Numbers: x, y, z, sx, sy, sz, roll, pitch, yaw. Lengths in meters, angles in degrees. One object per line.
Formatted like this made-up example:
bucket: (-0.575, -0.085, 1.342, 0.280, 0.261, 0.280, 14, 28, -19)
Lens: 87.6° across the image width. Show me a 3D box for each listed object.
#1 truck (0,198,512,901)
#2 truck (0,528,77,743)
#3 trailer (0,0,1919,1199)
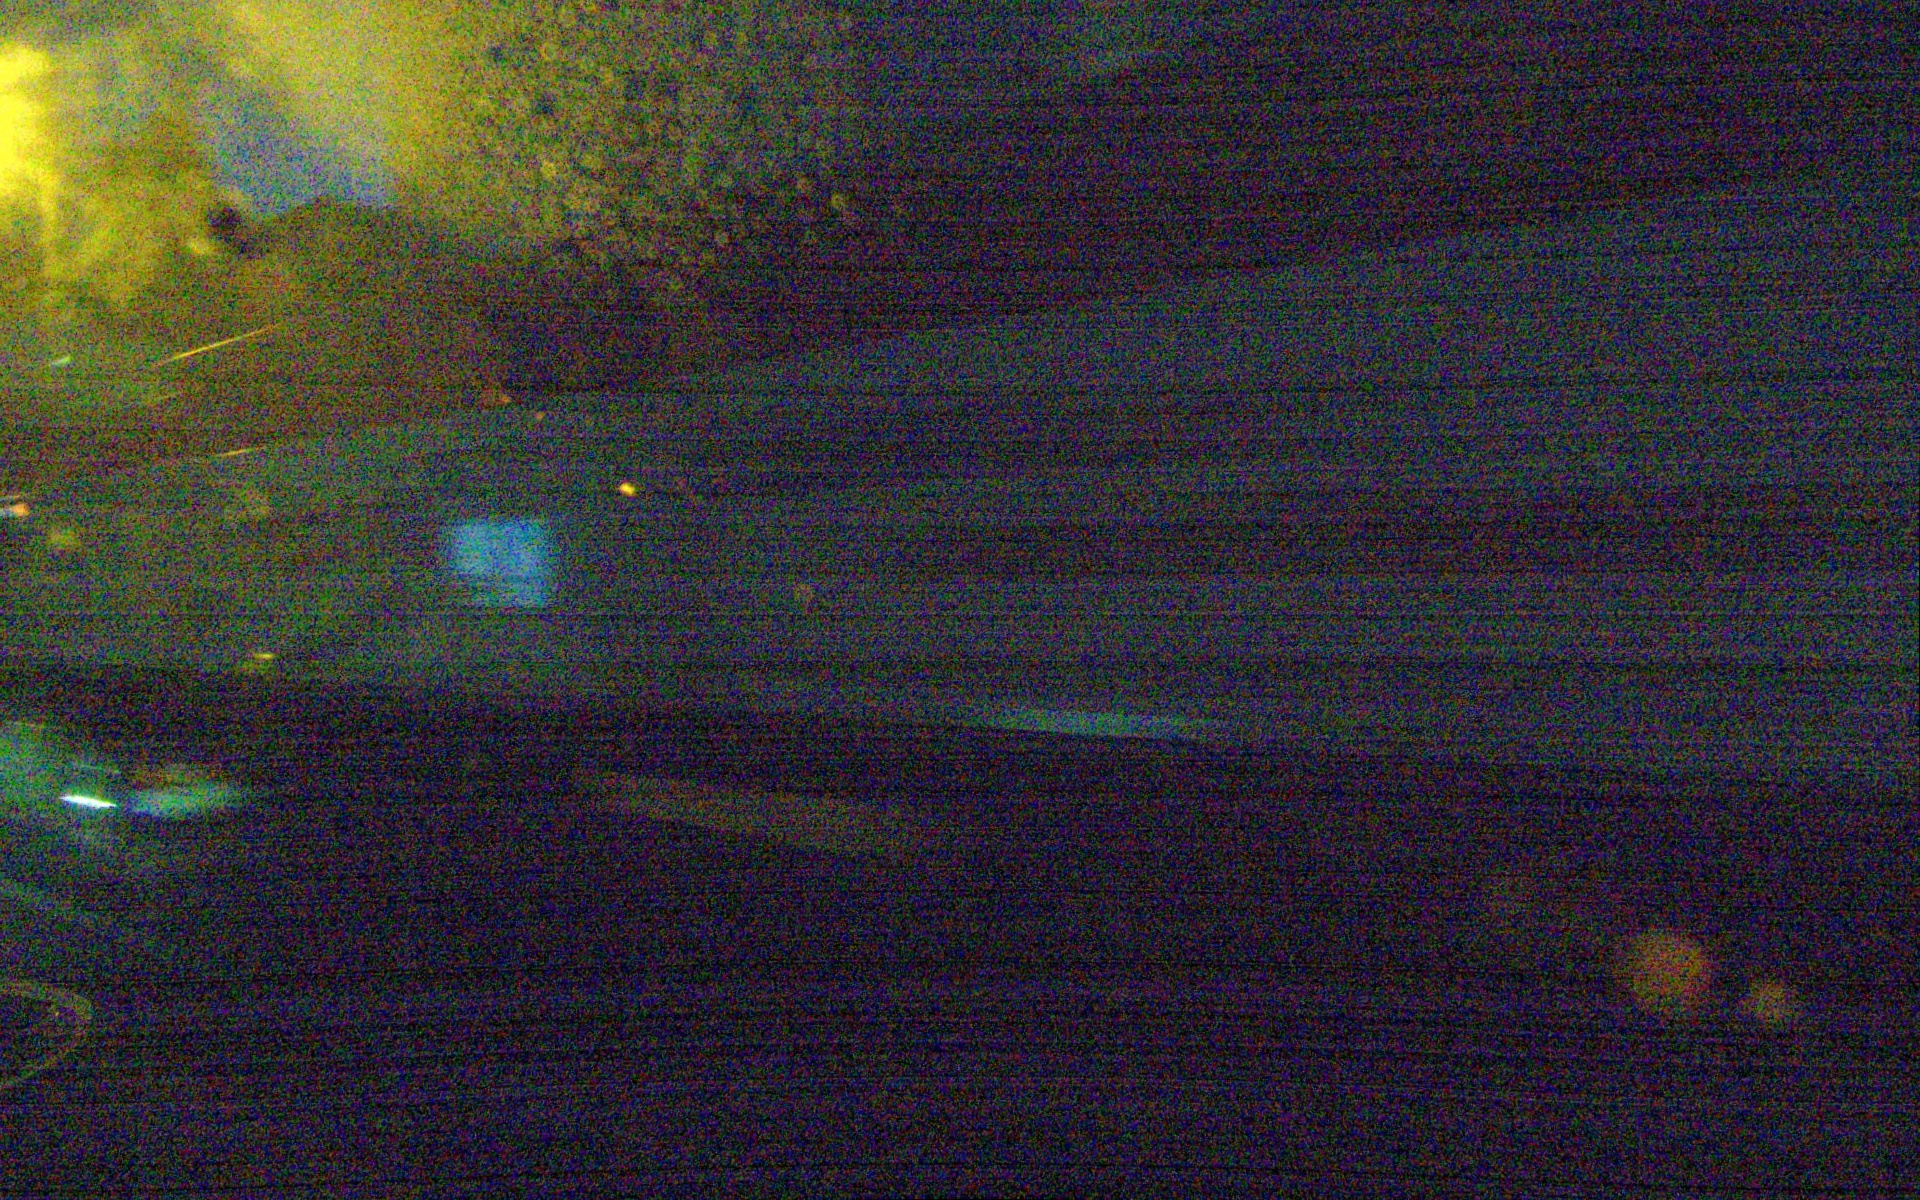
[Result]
truck: (-6.368, -0.174, 7.996, 5.155, 3.811, 2.760, -2, -2, 33)
truck: (-14.704, 0.497, 13.688, 6.507, 2.628, 2.395, -1, -1, 34)
trailer: (-0.601, -0.371, 4.259, 14.451, 3.811, 2.760, -2, -2, 33)
